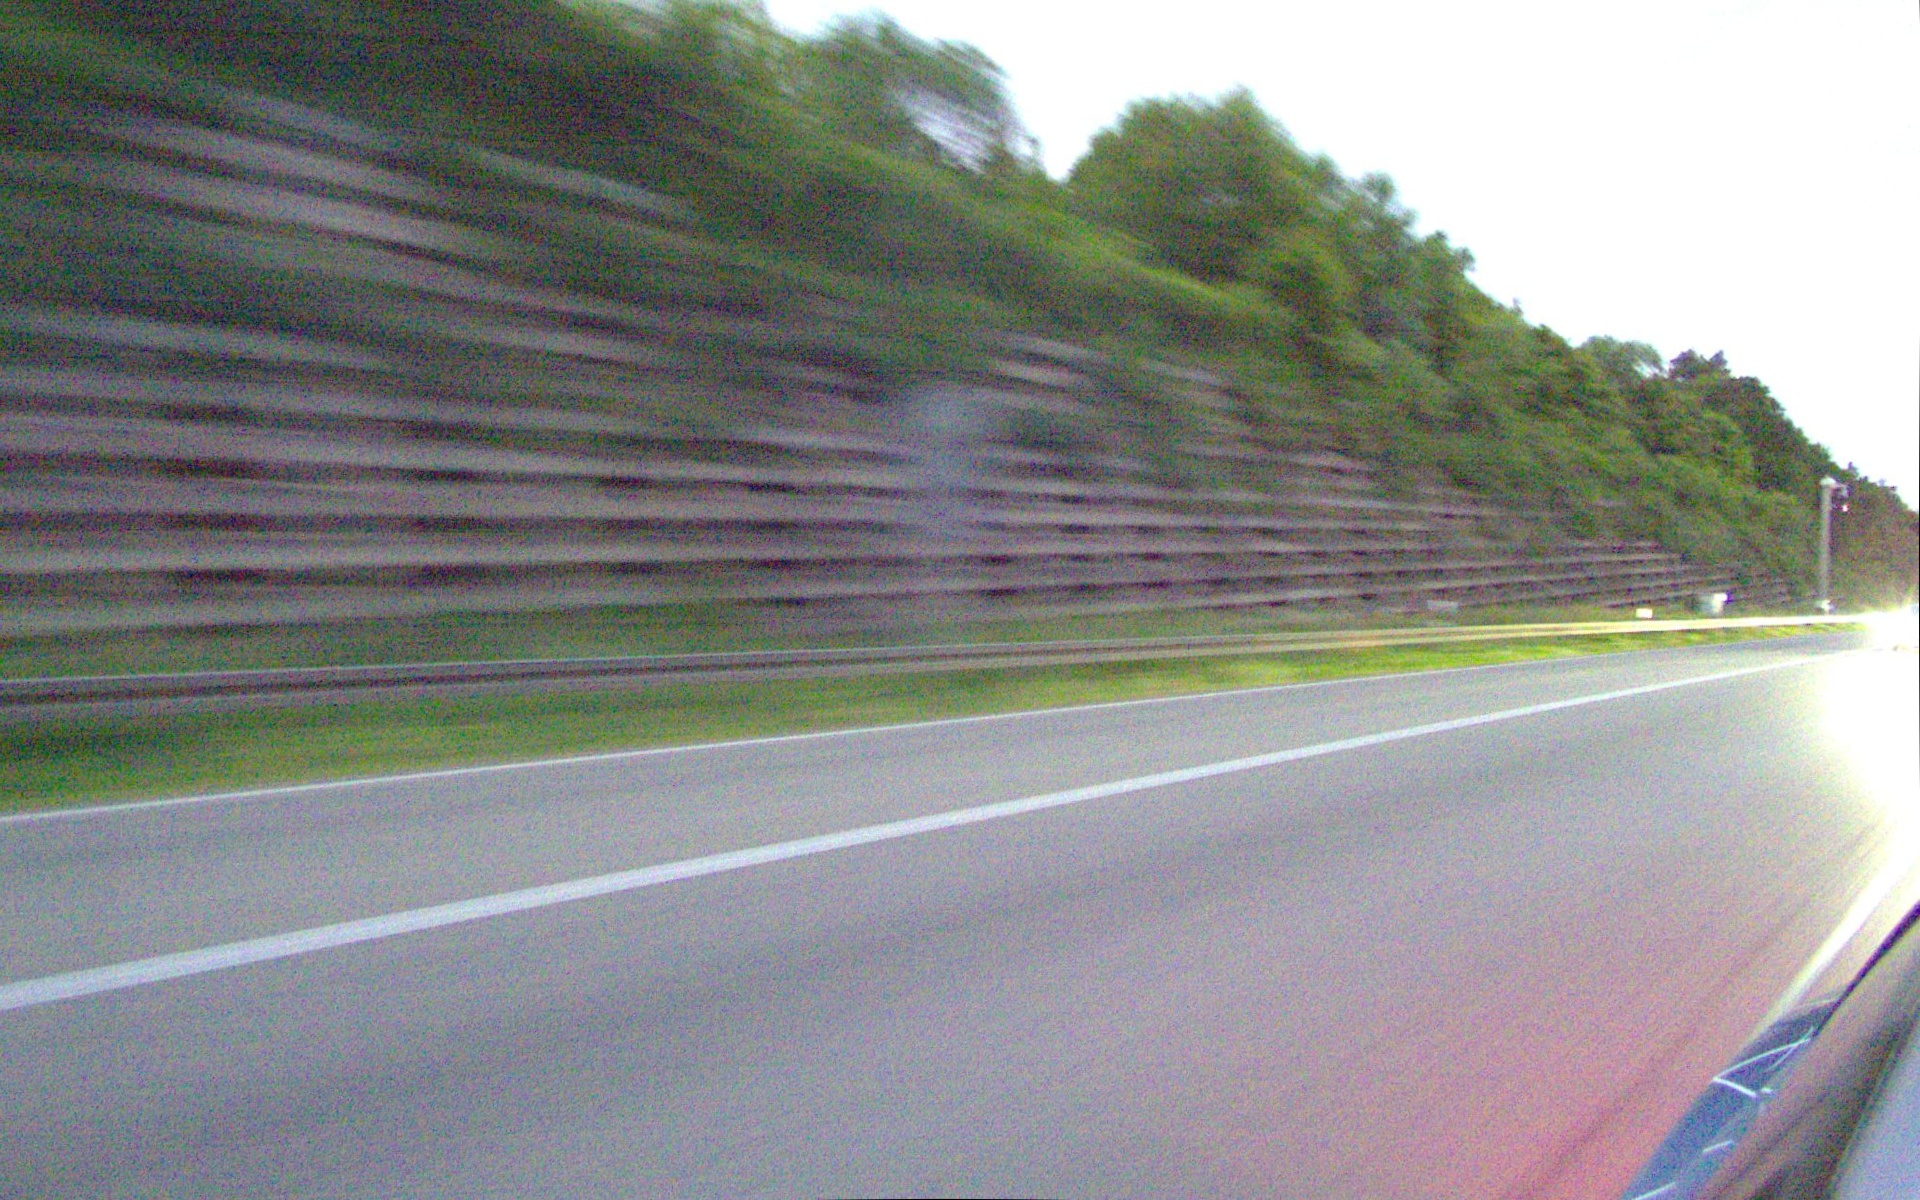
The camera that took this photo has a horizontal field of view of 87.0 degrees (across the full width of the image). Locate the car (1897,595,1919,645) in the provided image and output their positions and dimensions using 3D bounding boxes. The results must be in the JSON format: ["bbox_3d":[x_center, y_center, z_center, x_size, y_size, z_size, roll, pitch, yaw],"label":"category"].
[{"bbox_3d":[29.737,0.567,30.436,4.505,1.454,1.868,0,0,-42],"label":"car"}]
